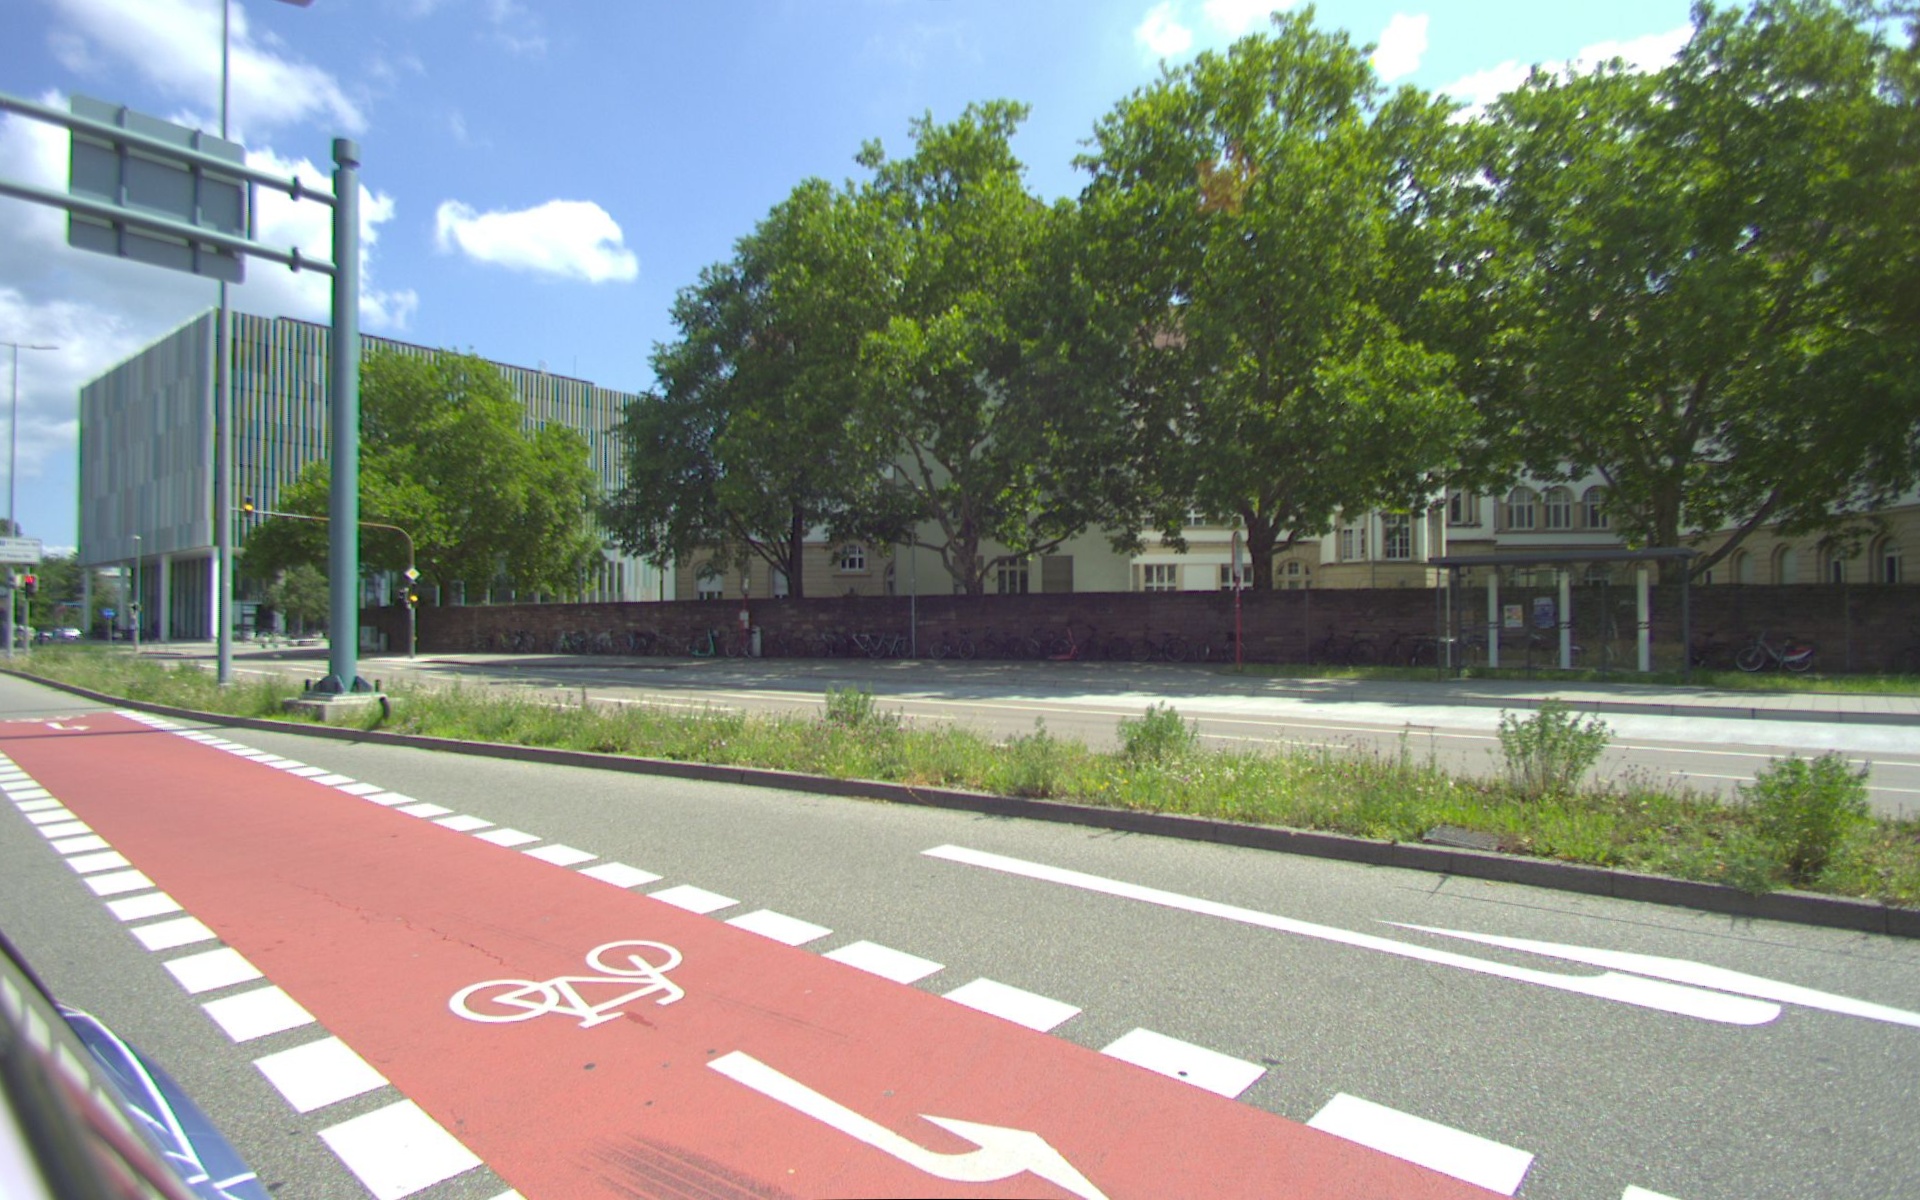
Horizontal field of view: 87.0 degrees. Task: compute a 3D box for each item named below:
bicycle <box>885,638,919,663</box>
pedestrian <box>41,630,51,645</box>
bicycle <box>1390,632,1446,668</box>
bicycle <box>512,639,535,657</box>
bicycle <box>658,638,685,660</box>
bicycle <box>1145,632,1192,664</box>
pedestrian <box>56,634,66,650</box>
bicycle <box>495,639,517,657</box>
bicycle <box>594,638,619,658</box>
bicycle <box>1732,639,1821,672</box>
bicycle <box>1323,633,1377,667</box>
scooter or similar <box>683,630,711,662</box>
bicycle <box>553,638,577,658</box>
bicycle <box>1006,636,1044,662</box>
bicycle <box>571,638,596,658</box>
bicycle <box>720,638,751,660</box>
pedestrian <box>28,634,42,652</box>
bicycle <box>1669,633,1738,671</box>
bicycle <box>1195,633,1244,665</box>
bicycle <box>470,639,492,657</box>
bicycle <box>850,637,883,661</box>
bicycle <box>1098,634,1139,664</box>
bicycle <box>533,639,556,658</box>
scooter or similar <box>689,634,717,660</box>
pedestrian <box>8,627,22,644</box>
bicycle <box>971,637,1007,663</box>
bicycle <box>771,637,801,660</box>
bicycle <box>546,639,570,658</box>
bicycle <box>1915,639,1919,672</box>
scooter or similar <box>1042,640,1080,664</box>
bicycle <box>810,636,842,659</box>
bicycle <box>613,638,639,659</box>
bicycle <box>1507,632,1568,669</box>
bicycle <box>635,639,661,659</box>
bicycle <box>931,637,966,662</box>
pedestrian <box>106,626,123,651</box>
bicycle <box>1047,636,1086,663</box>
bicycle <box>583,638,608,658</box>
[{"bbox_3d":[-2.015,1.749,35.116,1.231,0.837,0.262,-1,-2,30],"label":"bicycle"},{"bbox_3d":[-88.830,3.611,98.375,0.686,1.464,0.689,1,-3,-45],"label":"pedestrian"},{"bbox_3d":[12.864,1.404,28.420,1.384,0.972,0.263,-1,-2,18],"label":"bicycle"},{"bbox_3d":[-19.950,2.186,46.238,1.230,0.837,0.262,-1,-2,29],"label":"bicycle"},{"bbox_3d":[-11.552,1.965,40.571,1.231,0.837,0.262,-2,-2,30],"label":"bicycle"},{"bbox_3d":[6.400,1.475,31.037,1.385,0.972,0.263,-1,-2,20],"label":"bicycle"},{"bbox_3d":[-85.437,3.991,96.179,0.689,1.464,0.687,-2,-3,43],"label":"pedestrian"},{"bbox_3d":[-21.071,2.210,46.977,1.231,0.837,0.262,-2,-2,30],"label":"bicycle"},{"bbox_3d":[-14.984,2.014,42.880,1.231,0.837,0.262,-2,-2,30],"label":"bicycle"},{"bbox_3d":[20.744,1.405,25.722,1.734,0.823,0.327,-1,-2,18],"label":"bicycle"},{"bbox_3d":[11.178,1.426,29.033,1.384,0.972,0.263,-1,-2,18],"label":"bicycle"},{"bbox_3d":[-10.131,1.759,38.948,1.230,1.199,0.262,-1,-2,29],"label":"scooter or similar"},{"bbox_3d":[-17.407,2.109,44.559,1.230,0.837,0.262,-1,-2,29],"label":"bicycle"},{"bbox_3d":[2.132,1.609,33.069,1.230,0.837,0.262,-1,-2,28],"label":"bicycle"},{"bbox_3d":[-16.267,2.080,43.725,1.231,0.837,0.262,-2,-2,30],"label":"bicycle"},{"bbox_3d":[-8.647,1.884,38.949,1.226,0.837,0.263,-1,-2,19],"label":"bicycle"},{"bbox_3d":[-78.227,3.637,85.588,0.687,1.464,0.689,-2,-2,34],"label":"pedestrian"},{"bbox_3d":[19.232,1.345,26.196,1.384,0.972,0.263,-1,-2,18],"label":"bicycle"},{"bbox_3d":[7.806,1.468,30.417,1.389,0.972,0.262,-1,-2,28],"label":"bicycle"},{"bbox_3d":[-22.692,2.279,47.957,1.231,0.837,0.262,-2,-2,30],"label":"bicycle"},{"bbox_3d":[-3.330,1.752,35.897,1.231,0.837,0.262,-1,-2,30],"label":"bicycle"},{"bbox_3d":[4.945,1.521,31.596,1.230,0.915,0.262,-1,-2,28],"label":"bicycle"},{"bbox_3d":[-18.596,2.160,45.309,1.230,0.837,0.262,-1,-2,29],"label":"bicycle"},{"bbox_3d":[-10.145,1.849,39.919,1.133,1.028,0.264,-1,-2,19],"label":"scooter or similar"},{"bbox_3d":[-95.670,3.621,102.451,0.994,1.669,0.853,-2,-2,39],"label":"pedestrian"},{"bbox_3d":[0.960,1.664,33.718,1.230,0.837,0.262,-1,-2,28],"label":"bicycle"},{"bbox_3d":[-6.470,1.808,37.566,1.231,0.837,0.262,-1,-2,30],"label":"bicycle"},{"bbox_3d":[-17.482,2.102,43.965,1.230,0.837,0.262,-1,-2,29],"label":"bicycle"},{"bbox_3d":[24.443,1.357,24.614,1.734,0.823,0.382,-1,-2,18],"label":"bicycle"},{"bbox_3d":[3.174,1.627,31.796,1.133,0.734,0.264,-1,-2,18],"label":"scooter or similar"},{"bbox_3d":[-4.882,1.727,36.872,1.231,0.837,0.262,-1,-2,30],"label":"bicycle"},{"bbox_3d":[-13.910,2.024,42.174,1.231,0.837,0.262,-2,-2,30],"label":"bicycle"},{"bbox_3d":[15.630,1.368,27.389,1.384,0.972,0.263,-1,-2,18],"label":"bicycle"},{"bbox_3d":[-12.785,2.006,41.488,1.231,0.837,0.262,-2,-2,30],"label":"bicycle"},{"bbox_3d":[-0.390,1.670,34.254,1.230,0.837,0.262,-1,-2,28],"label":"bicycle"},{"bbox_3d":[-69.228,3.120,82.878,0.994,2.029,0.853,-2,-2,39],"label":"pedestrian"},{"bbox_3d":[3.408,1.592,32.458,1.230,0.837,0.262,-1,-2,28],"label":"bicycle"},{"bbox_3d":[-15.331,2.002,42.556,1.230,0.837,0.262,-1,-2,29],"label":"bicycle"}]
